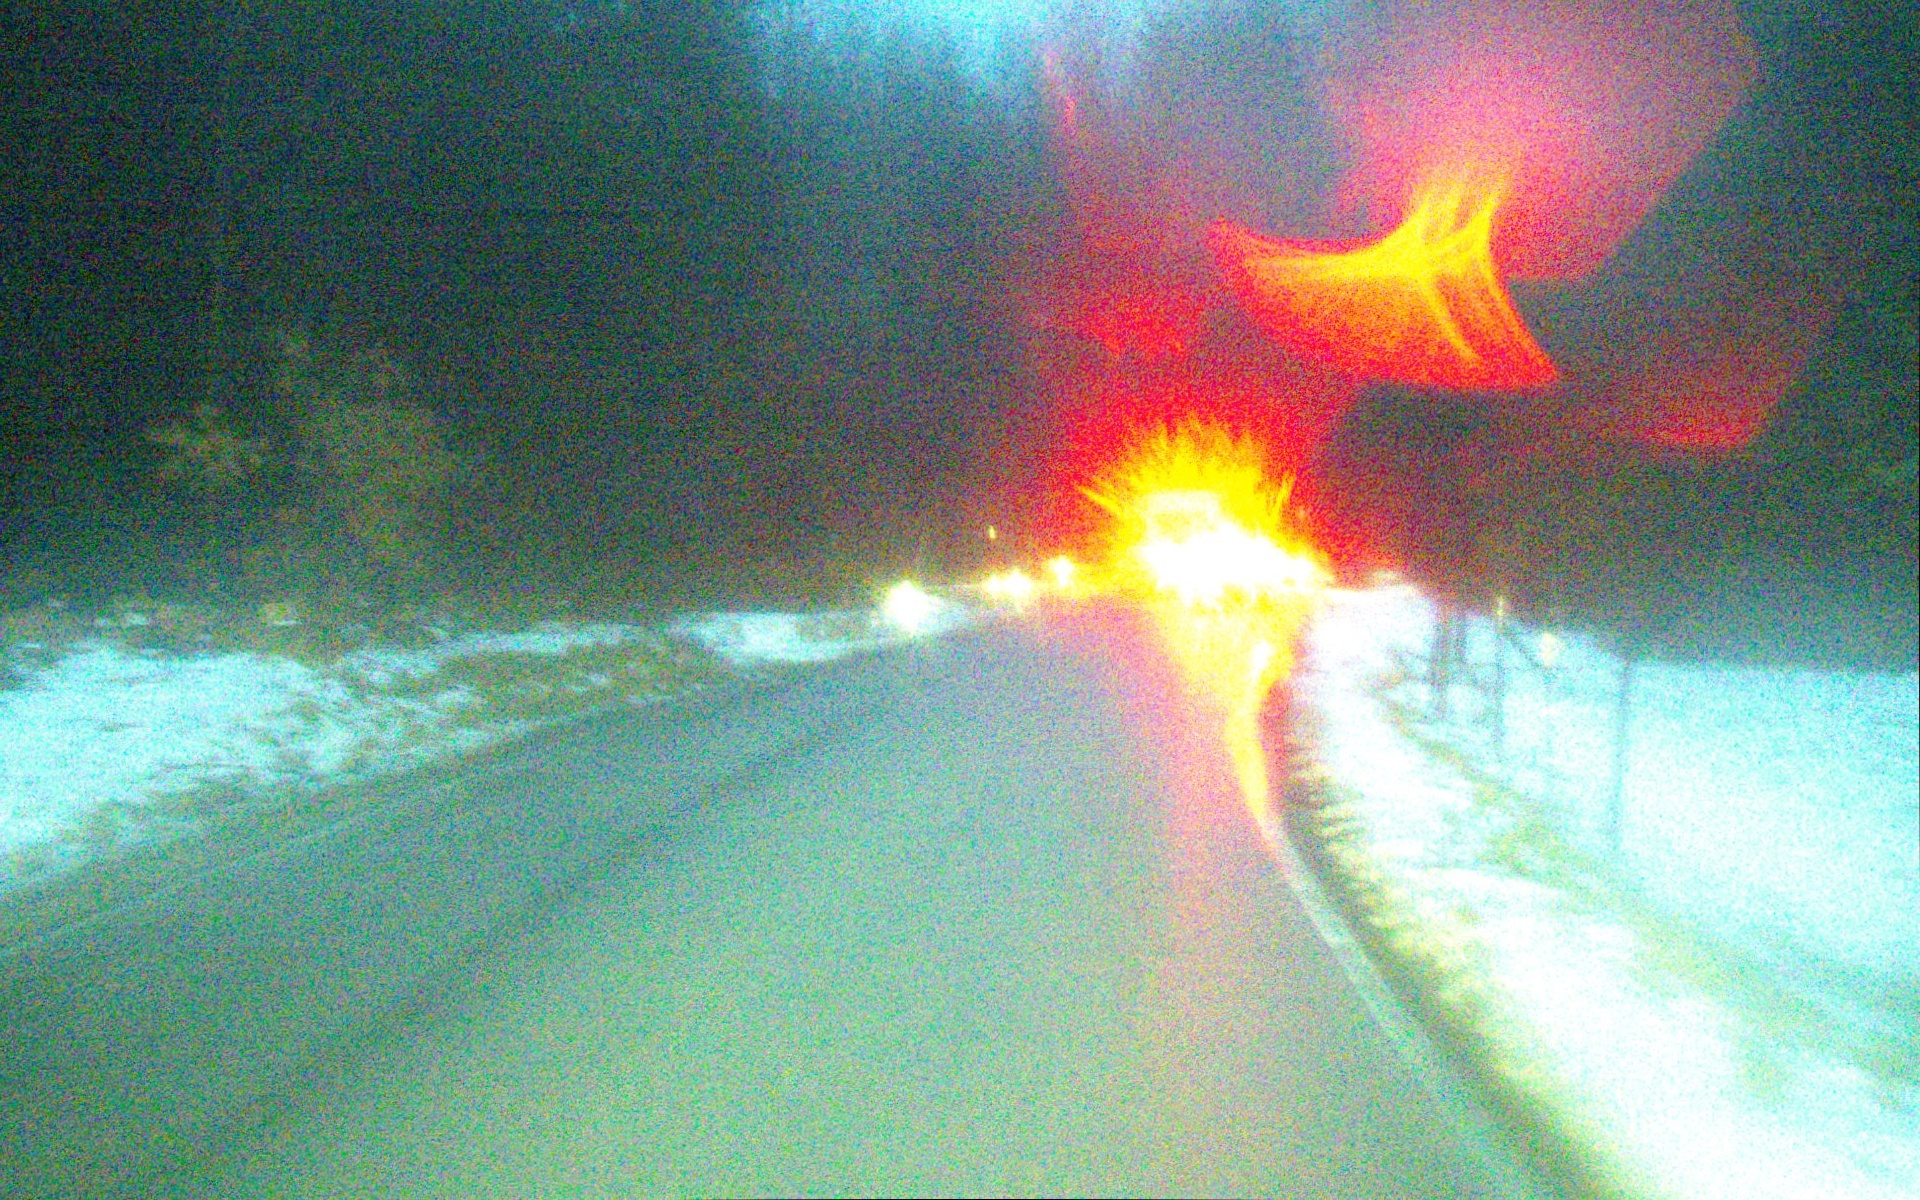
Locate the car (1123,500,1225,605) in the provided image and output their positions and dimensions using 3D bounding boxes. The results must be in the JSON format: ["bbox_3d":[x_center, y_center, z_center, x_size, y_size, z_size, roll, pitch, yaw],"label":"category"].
[{"bbox_3d":[5.535,-1.233,89.483,2.252,2.636,5.006,-1,1,-1],"label":"car"}]

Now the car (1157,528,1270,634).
[{"bbox_3d":[5.199,-0.424,70.964,1.993,2.044,4.000,2,1,0],"label":"car"}]
